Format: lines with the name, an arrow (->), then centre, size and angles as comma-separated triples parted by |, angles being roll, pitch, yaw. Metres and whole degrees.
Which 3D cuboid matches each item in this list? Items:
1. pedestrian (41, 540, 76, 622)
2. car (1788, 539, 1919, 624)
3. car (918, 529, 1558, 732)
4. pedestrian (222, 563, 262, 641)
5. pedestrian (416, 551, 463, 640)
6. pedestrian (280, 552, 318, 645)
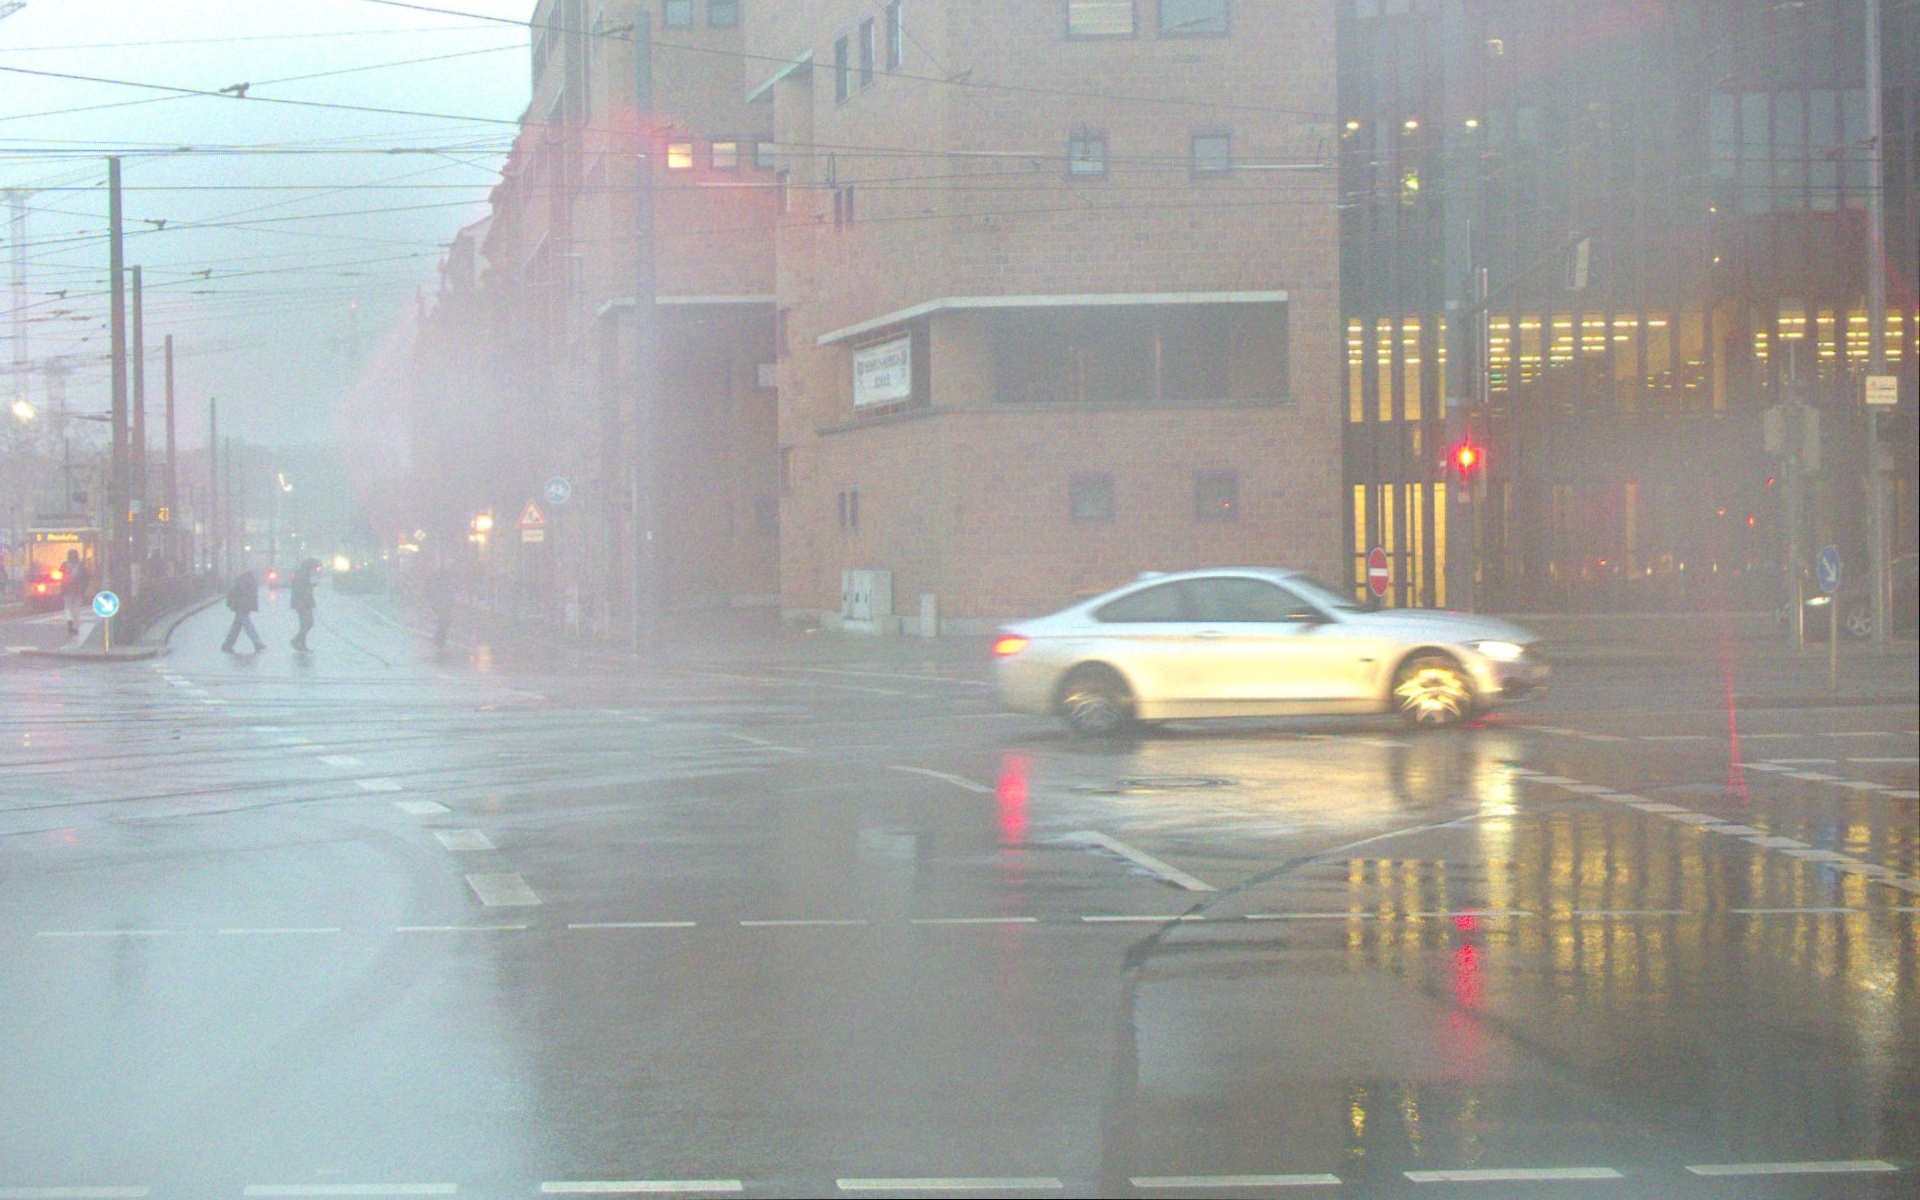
pedestrian -> -19.092, -0.398, 72.799 | 0.693, 1.718, 0.766 | -1, 1, -15
car -> 15.691, -0.334, 55.722 | 3.986, 1.305, 2.000 | -1, 1, -4
car -> 2.375, 0.239, 29.019 | 4.991, 1.602, 2.252 | -1, 1, 18
pedestrian -> -13.814, 0.041, 66.153 | 0.700, 1.479, 0.576 | -1, 1, -10
pedestrian -> -9.973, -0.094, 65.854 | 0.843, 1.681, 0.649 | -1, 1, -10
pedestrian -> -12.362, -0.025, 64.292 | 0.666, 1.719, 0.488 | -1, 1, -10
